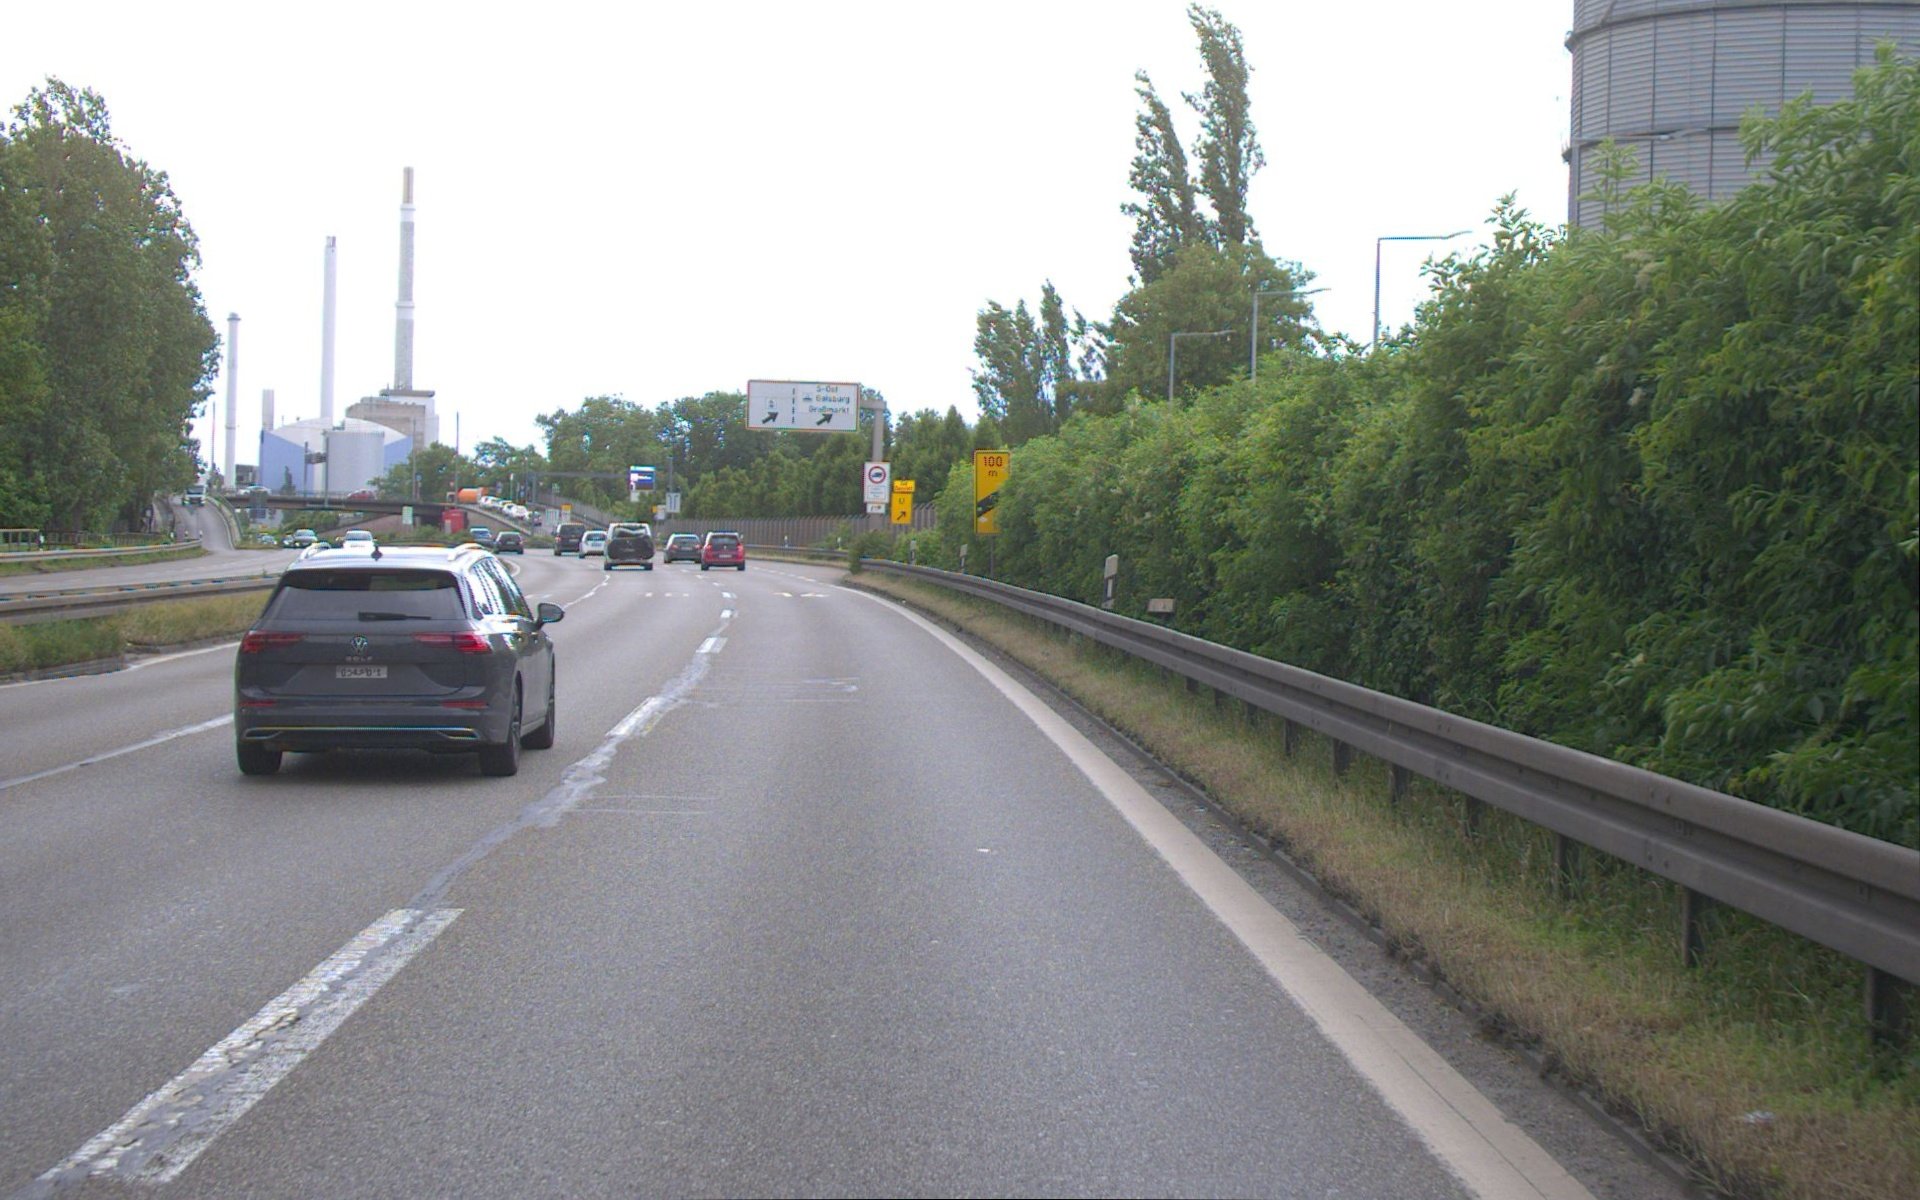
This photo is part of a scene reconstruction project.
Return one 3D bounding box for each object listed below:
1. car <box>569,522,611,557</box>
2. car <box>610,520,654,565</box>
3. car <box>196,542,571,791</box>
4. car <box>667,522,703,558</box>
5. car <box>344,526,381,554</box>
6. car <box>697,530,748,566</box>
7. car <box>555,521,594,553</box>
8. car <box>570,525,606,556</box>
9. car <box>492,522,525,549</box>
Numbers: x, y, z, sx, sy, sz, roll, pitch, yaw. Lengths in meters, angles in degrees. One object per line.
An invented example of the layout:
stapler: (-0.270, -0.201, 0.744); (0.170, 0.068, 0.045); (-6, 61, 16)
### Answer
car: (-20.959, -3.439, 194.616); (2.013, 1.927, 4.902); (0, 1, -11)
car: (-13.080, -2.303, 137.032); (1.697, 1.736, 4.001); (0, 1, -5)
car: (-3.714, 0.358, 22.958); (1.845, 1.418, 4.901); (2, 1, -2)
car: (-13.346, -2.912, 166.650); (1.697, 1.736, 4.394); (0, 1, -5)
car: (-31.112, -3.129, 179.159); (1.614, 1.381, 3.733); (1, 1, -6)
car: (-9.620, -2.123, 138.946); (1.974, 1.418, 4.901); (0, 1, -4)
car: (-23.964, -3.901, 213.722); (2.013, 1.927, 4.902); (0, 1, -11)
car: (-20.939, -3.359, 193.495); (1.697, 1.736, 4.394); (0, 1, -11)
car: (-29.255, -4.196, 222.498); (1.697, 1.736, 4.394); (0, 1, -13)
